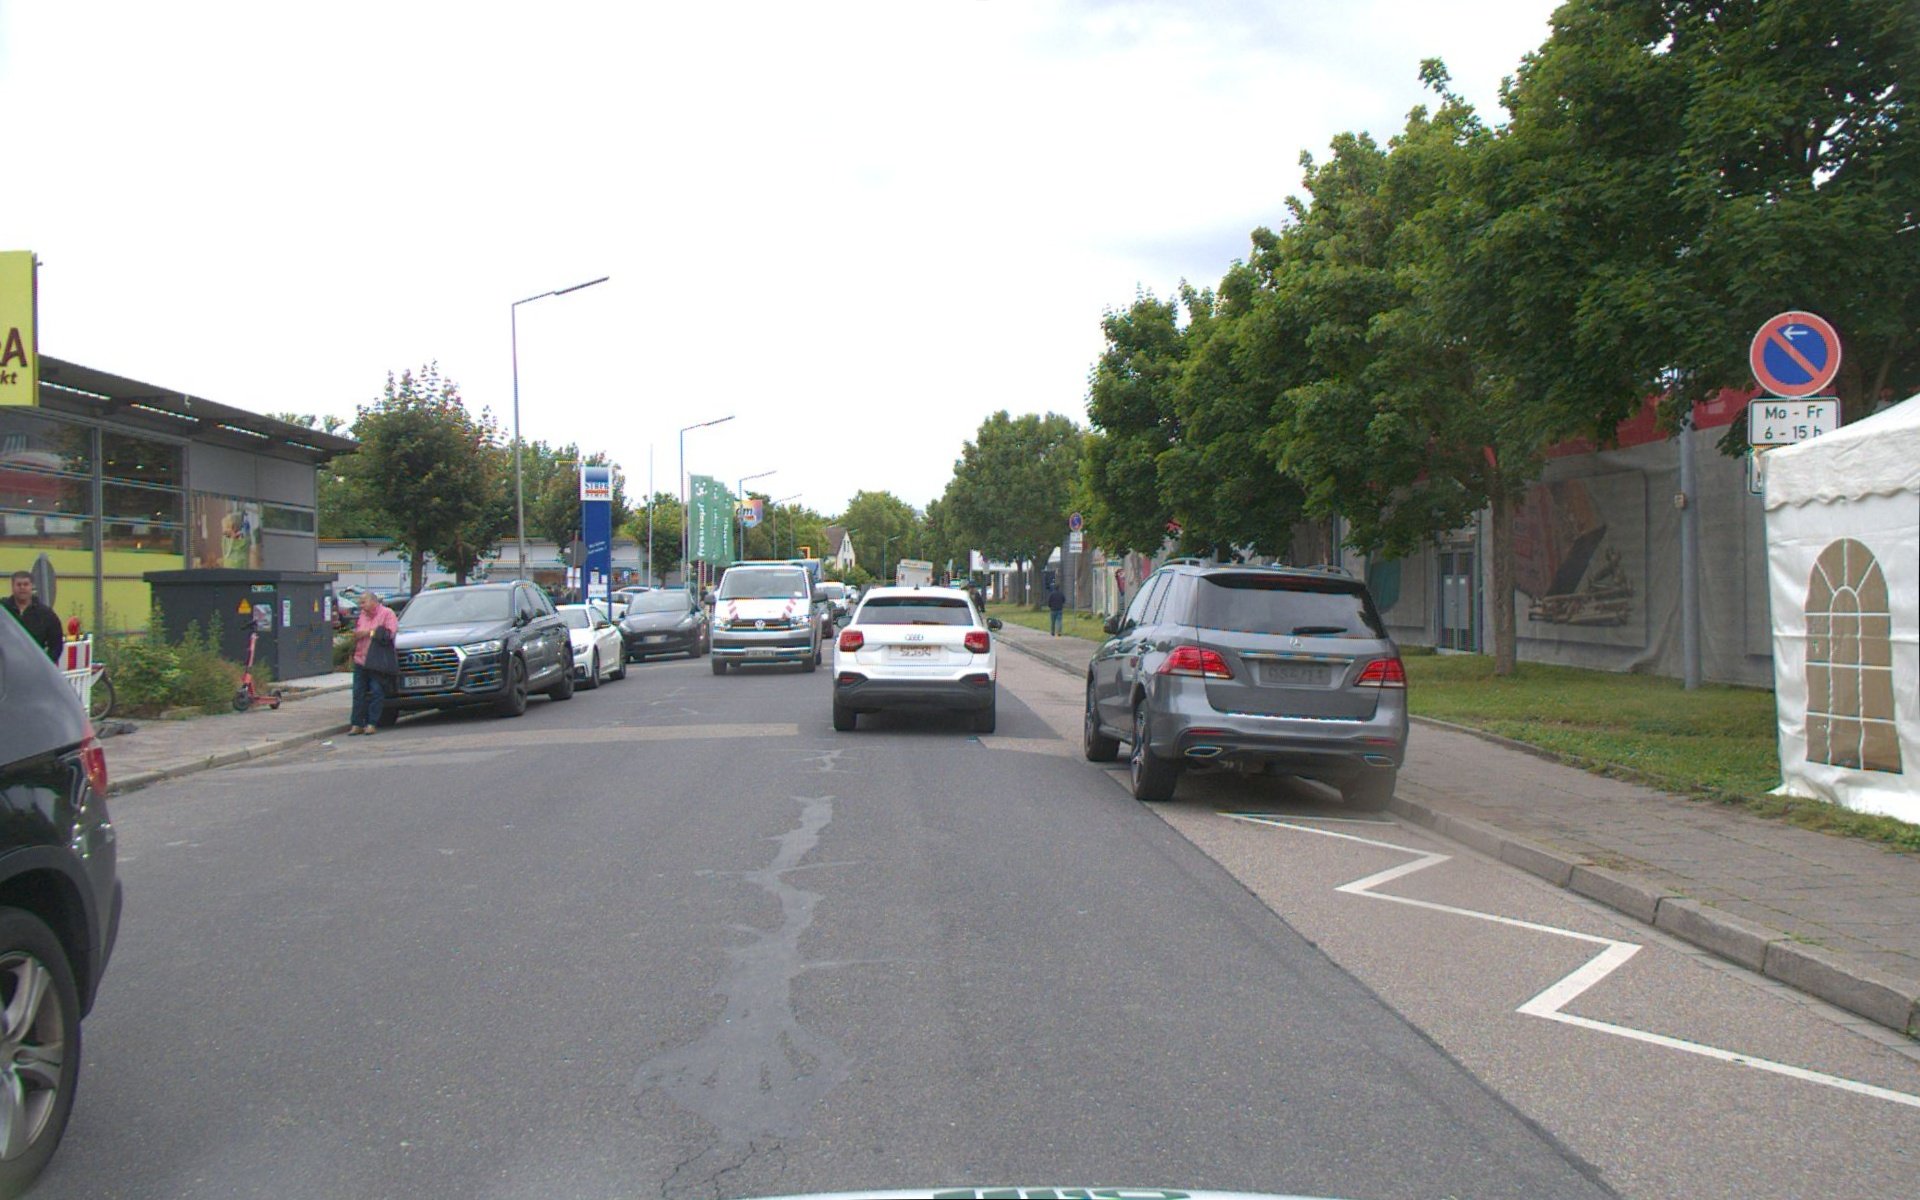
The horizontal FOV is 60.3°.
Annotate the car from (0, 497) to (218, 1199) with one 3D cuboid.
[{"bbox_3d":[-3.182,0.656,2.721,1.920,1.690,4.651,-3,0,-3],"label":"car"}]

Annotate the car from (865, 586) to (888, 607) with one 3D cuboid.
[{"bbox_3d":[-7.033,-0.280,139.401,1.833,1.691,3.996,-1,0,-5],"label":"car"}]

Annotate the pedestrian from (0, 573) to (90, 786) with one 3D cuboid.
[{"bbox_3d":[-8.019,0.658,14.260,0.684,1.747,0.683,4,3,41],"label":"pedestrian"}]

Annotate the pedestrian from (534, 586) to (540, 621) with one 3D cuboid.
[{"bbox_3d":[-21.133,0.185,82.597,0.258,1.760,0.421,-1,0,-15],"label":"pedestrian"}]

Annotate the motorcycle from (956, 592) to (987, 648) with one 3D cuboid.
[{"bbox_3d":[0.243,0.437,36.839,0.628,1.199,2.113,-1,0,-1],"label":"motorcycle"}]

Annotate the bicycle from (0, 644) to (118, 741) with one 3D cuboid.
[{"bbox_3d":[-10.592,1.057,18.962,1.627,1.065,0.392,-1,0,-5],"label":"bicycle"}]

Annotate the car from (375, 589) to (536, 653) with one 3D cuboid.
[{"bbox_3d":[-13.708,0.562,45.087,3.796,1.649,1.927,1,0,-3],"label":"car"}]

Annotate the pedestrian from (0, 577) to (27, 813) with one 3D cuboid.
[{"bbox_3d":[-7.510,0.721,12.466,0.400,1.785,0.721,-1,0,22],"label":"pedestrian"}]

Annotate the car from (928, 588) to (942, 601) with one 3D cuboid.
[{"bbox_3d":[-3.441,-0.786,226.827,1.848,1.713,4.252,1,0,-2],"label":"car"}]

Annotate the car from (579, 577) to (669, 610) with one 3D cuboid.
[{"bbox_3d":[-15.934,-0.318,78.699,4.058,1.489,1.895,-1,0,-9],"label":"car"}]

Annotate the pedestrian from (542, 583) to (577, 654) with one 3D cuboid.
[{"bbox_3d":[-9.978,0.452,41.231,0.760,1.745,0.696,0,0,-7],"label":"pedestrian"}]

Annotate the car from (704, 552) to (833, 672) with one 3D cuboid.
[{"bbox_3d":[-3.507,0.221,31.140,1.888,2.049,4.954,1,0,-1],"label":"car"}]

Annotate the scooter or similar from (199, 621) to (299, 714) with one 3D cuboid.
[{"bbox_3d":[-9.621,0.893,22.439,0.648,1.177,1.641,-1,0,-1],"label":"scooter or similar"}]

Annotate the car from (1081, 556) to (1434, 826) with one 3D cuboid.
[{"bbox_3d":[2.197,0.609,13.522,1.870,1.771,4.478,2,0,-2],"label":"car"}]

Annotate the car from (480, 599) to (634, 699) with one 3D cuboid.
[{"bbox_3d":[-6.806,0.771,28.407,1.665,1.391,4.515,-5,1,-3],"label":"car"}]

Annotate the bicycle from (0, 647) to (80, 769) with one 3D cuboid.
[{"bbox_3d":[-9.118,1.013,15.586,0.532,1.096,1.902,0,0,3],"label":"bicycle"}]

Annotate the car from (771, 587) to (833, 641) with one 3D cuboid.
[{"bbox_3d":[-4.954,0.407,52.292,1.694,1.599,3.944,-2,0,-3],"label":"car"}]

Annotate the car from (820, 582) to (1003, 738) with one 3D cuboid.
[{"bbox_3d":[-0.567,0.592,18.970,1.848,1.558,4.252,-1,0,-2],"label":"car"}]

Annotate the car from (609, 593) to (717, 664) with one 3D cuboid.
[{"bbox_3d":[-6.947,0.623,39.049,1.907,1.553,4.400,-1,0,-2],"label":"car"}]

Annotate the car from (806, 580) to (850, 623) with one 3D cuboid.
[{"bbox_3d":[-5.851,0.029,73.705,1.656,1.791,4.133,-2,1,-2],"label":"car"}]

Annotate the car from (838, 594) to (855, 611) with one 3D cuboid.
[{"bbox_3d":[-11.117,0.245,162.019,1.567,1.554,3.526,-2,0,-2],"label":"car"}]

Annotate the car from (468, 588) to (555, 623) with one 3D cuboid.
[{"bbox_3d":[-22.773,0.283,84.100,3.907,1.698,1.875,-1,0,-3],"label":"car"}]

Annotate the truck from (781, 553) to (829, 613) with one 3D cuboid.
[{"bbox_3d":[-10.955,-1.197,117.474,2.914,4.025,6.402,-2,0,-2],"label":"truck"}]

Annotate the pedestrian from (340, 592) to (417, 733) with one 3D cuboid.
[{"bbox_3d":[-6.961,0.734,19.814,0.659,1.650,0.653,-2,0,-3],"label":"pedestrian"}]

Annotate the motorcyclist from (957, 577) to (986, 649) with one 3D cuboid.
[{"bbox_3d":[0.246,0.280,36.873,0.612,1.581,0.604,-1,0,-1],"label":"motorcyclist"}]

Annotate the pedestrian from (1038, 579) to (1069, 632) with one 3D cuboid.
[{"bbox_3d":[2.988,0.176,53.069,0.900,1.663,0.852,1,-1,-1],"label":"pedestrian"}]

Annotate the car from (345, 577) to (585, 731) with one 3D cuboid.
[{"bbox_3d":[-6.504,0.634,22.307,1.828,1.720,4.727,-4,1,-2],"label":"car"}]

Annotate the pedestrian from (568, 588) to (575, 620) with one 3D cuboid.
[{"bbox_3d":[-19.288,0.202,82.109,0.324,1.597,0.502,-1,0,-16],"label":"pedestrian"}]

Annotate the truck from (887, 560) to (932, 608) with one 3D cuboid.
[{"bbox_3d":[-4.094,-1.234,131.887,3.073,3.647,10.042,1,0,-4],"label":"truck"}]

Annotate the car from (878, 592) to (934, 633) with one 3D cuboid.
[{"bbox_3d":[-1.968,0.425,59.539,1.899,1.391,3.997,-1,1,-3],"label":"car"}]
